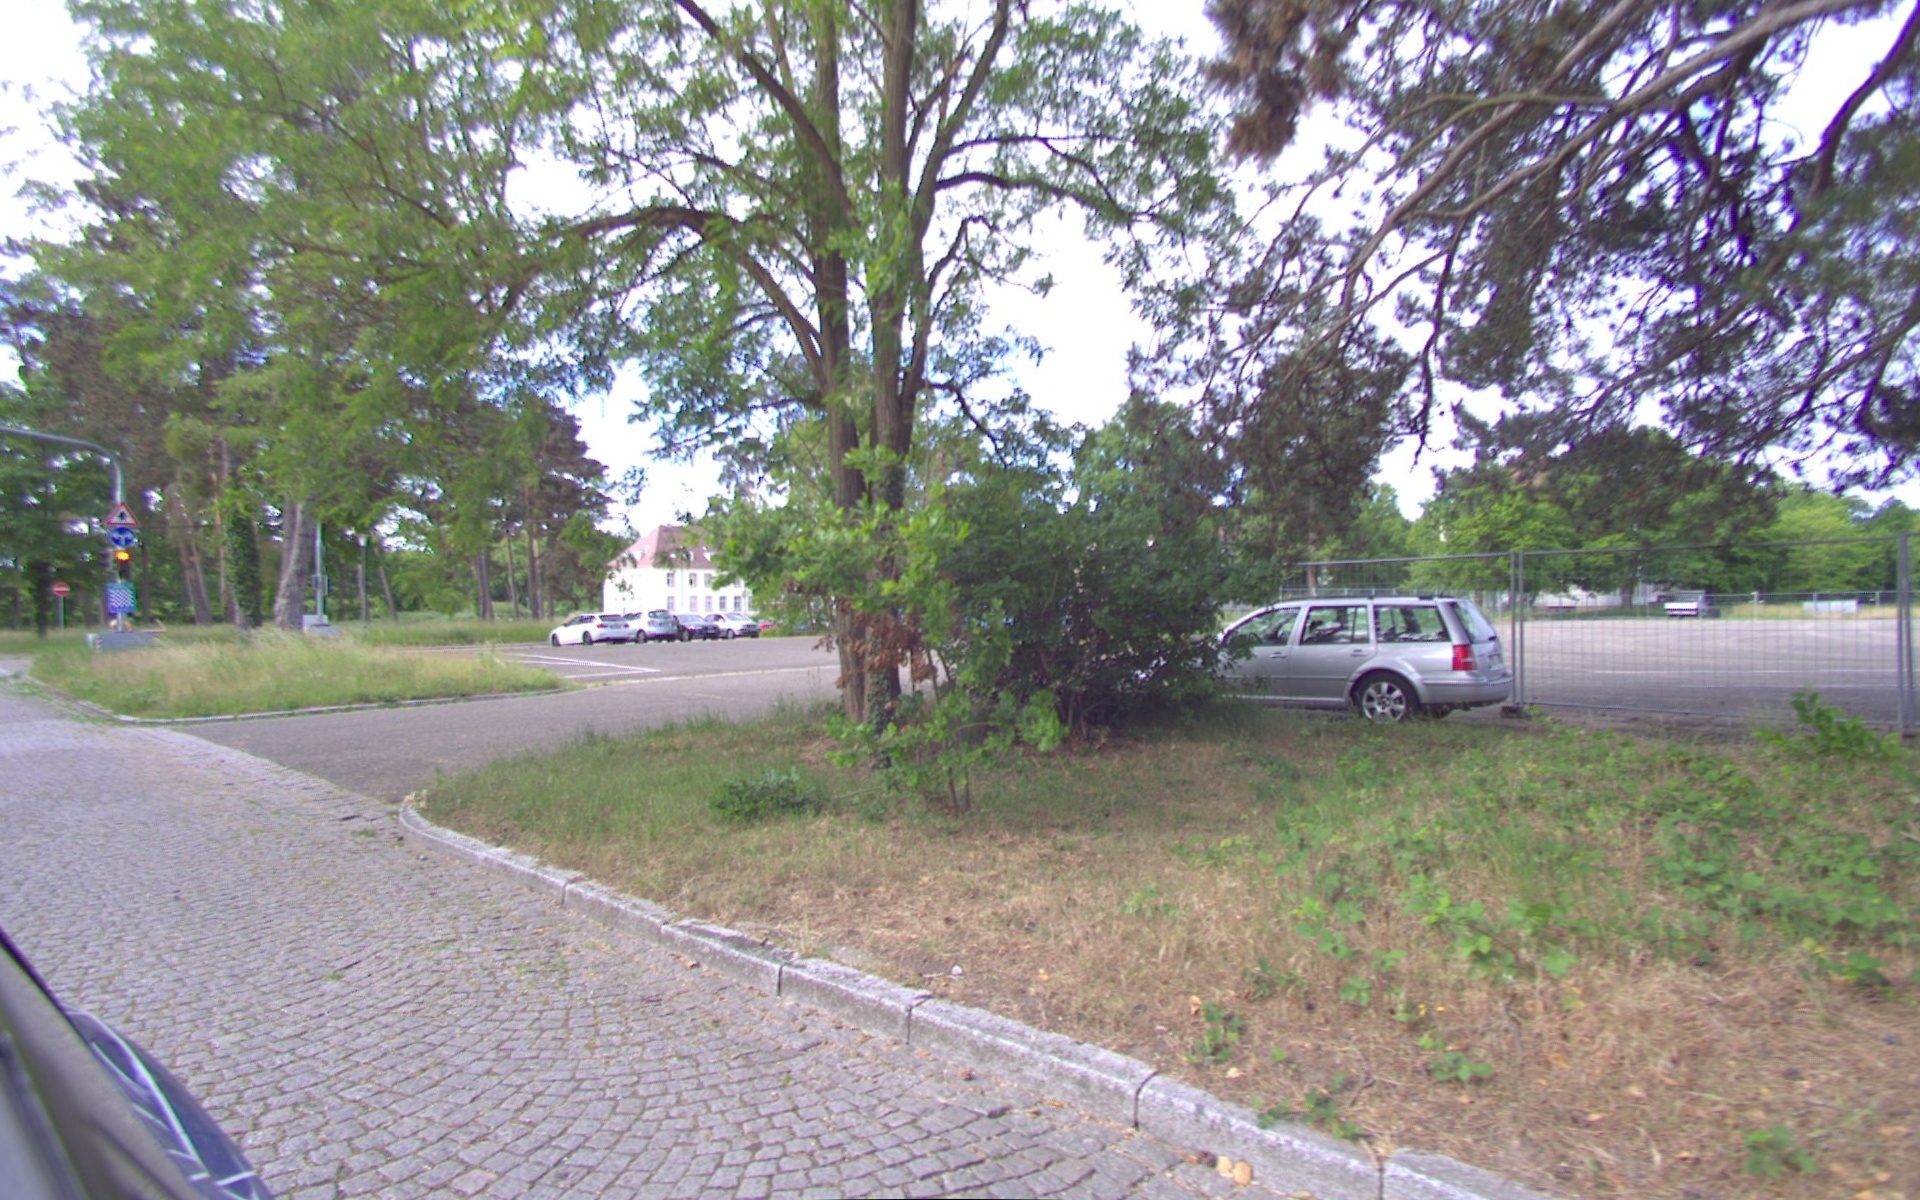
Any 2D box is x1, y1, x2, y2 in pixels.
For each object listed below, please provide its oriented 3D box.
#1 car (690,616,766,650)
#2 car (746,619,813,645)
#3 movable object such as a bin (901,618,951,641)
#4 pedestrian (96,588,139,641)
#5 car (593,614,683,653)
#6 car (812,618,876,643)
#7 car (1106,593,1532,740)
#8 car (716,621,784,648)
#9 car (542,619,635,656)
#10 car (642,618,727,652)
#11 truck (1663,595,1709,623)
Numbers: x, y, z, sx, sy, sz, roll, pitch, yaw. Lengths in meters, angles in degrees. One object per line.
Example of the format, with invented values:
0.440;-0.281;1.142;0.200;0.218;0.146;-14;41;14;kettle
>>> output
-11.822;1.668;51.371;4.113;1.533;1.713;-4;-3;43;car
-12.029;2.162;67.291;4.581;1.533;1.816;-4;-3;40;car
-1.467;1.257;43.304;1.932;0.940;1.029;-2;-2;36;movable object such as a bin
-24.945;0.421;29.974;0.869;1.529;0.824;0;-1;-33;pedestrian
-15.024;1.585;47.081;4.581;1.590;1.816;-4;-3;40;car
-8.237;2.149;71.529;4.581;1.586;1.816;-4;-3;40;car
4.107;0.705;12.057;4.464;1.449;1.698;-2;-1;40;car
-13.524;2.212;65.151;4.581;1.533;1.816;-4;-3;40;car
-16.566;1.680;45.002;4.651;1.461;1.816;-4;-3;40;car
-13.433;1.696;49.169;4.584;1.480;1.815;-4;-3;43;car
59.640;0.711;83.032;2.374;2.215;6.464;-2;-1;42;truck
